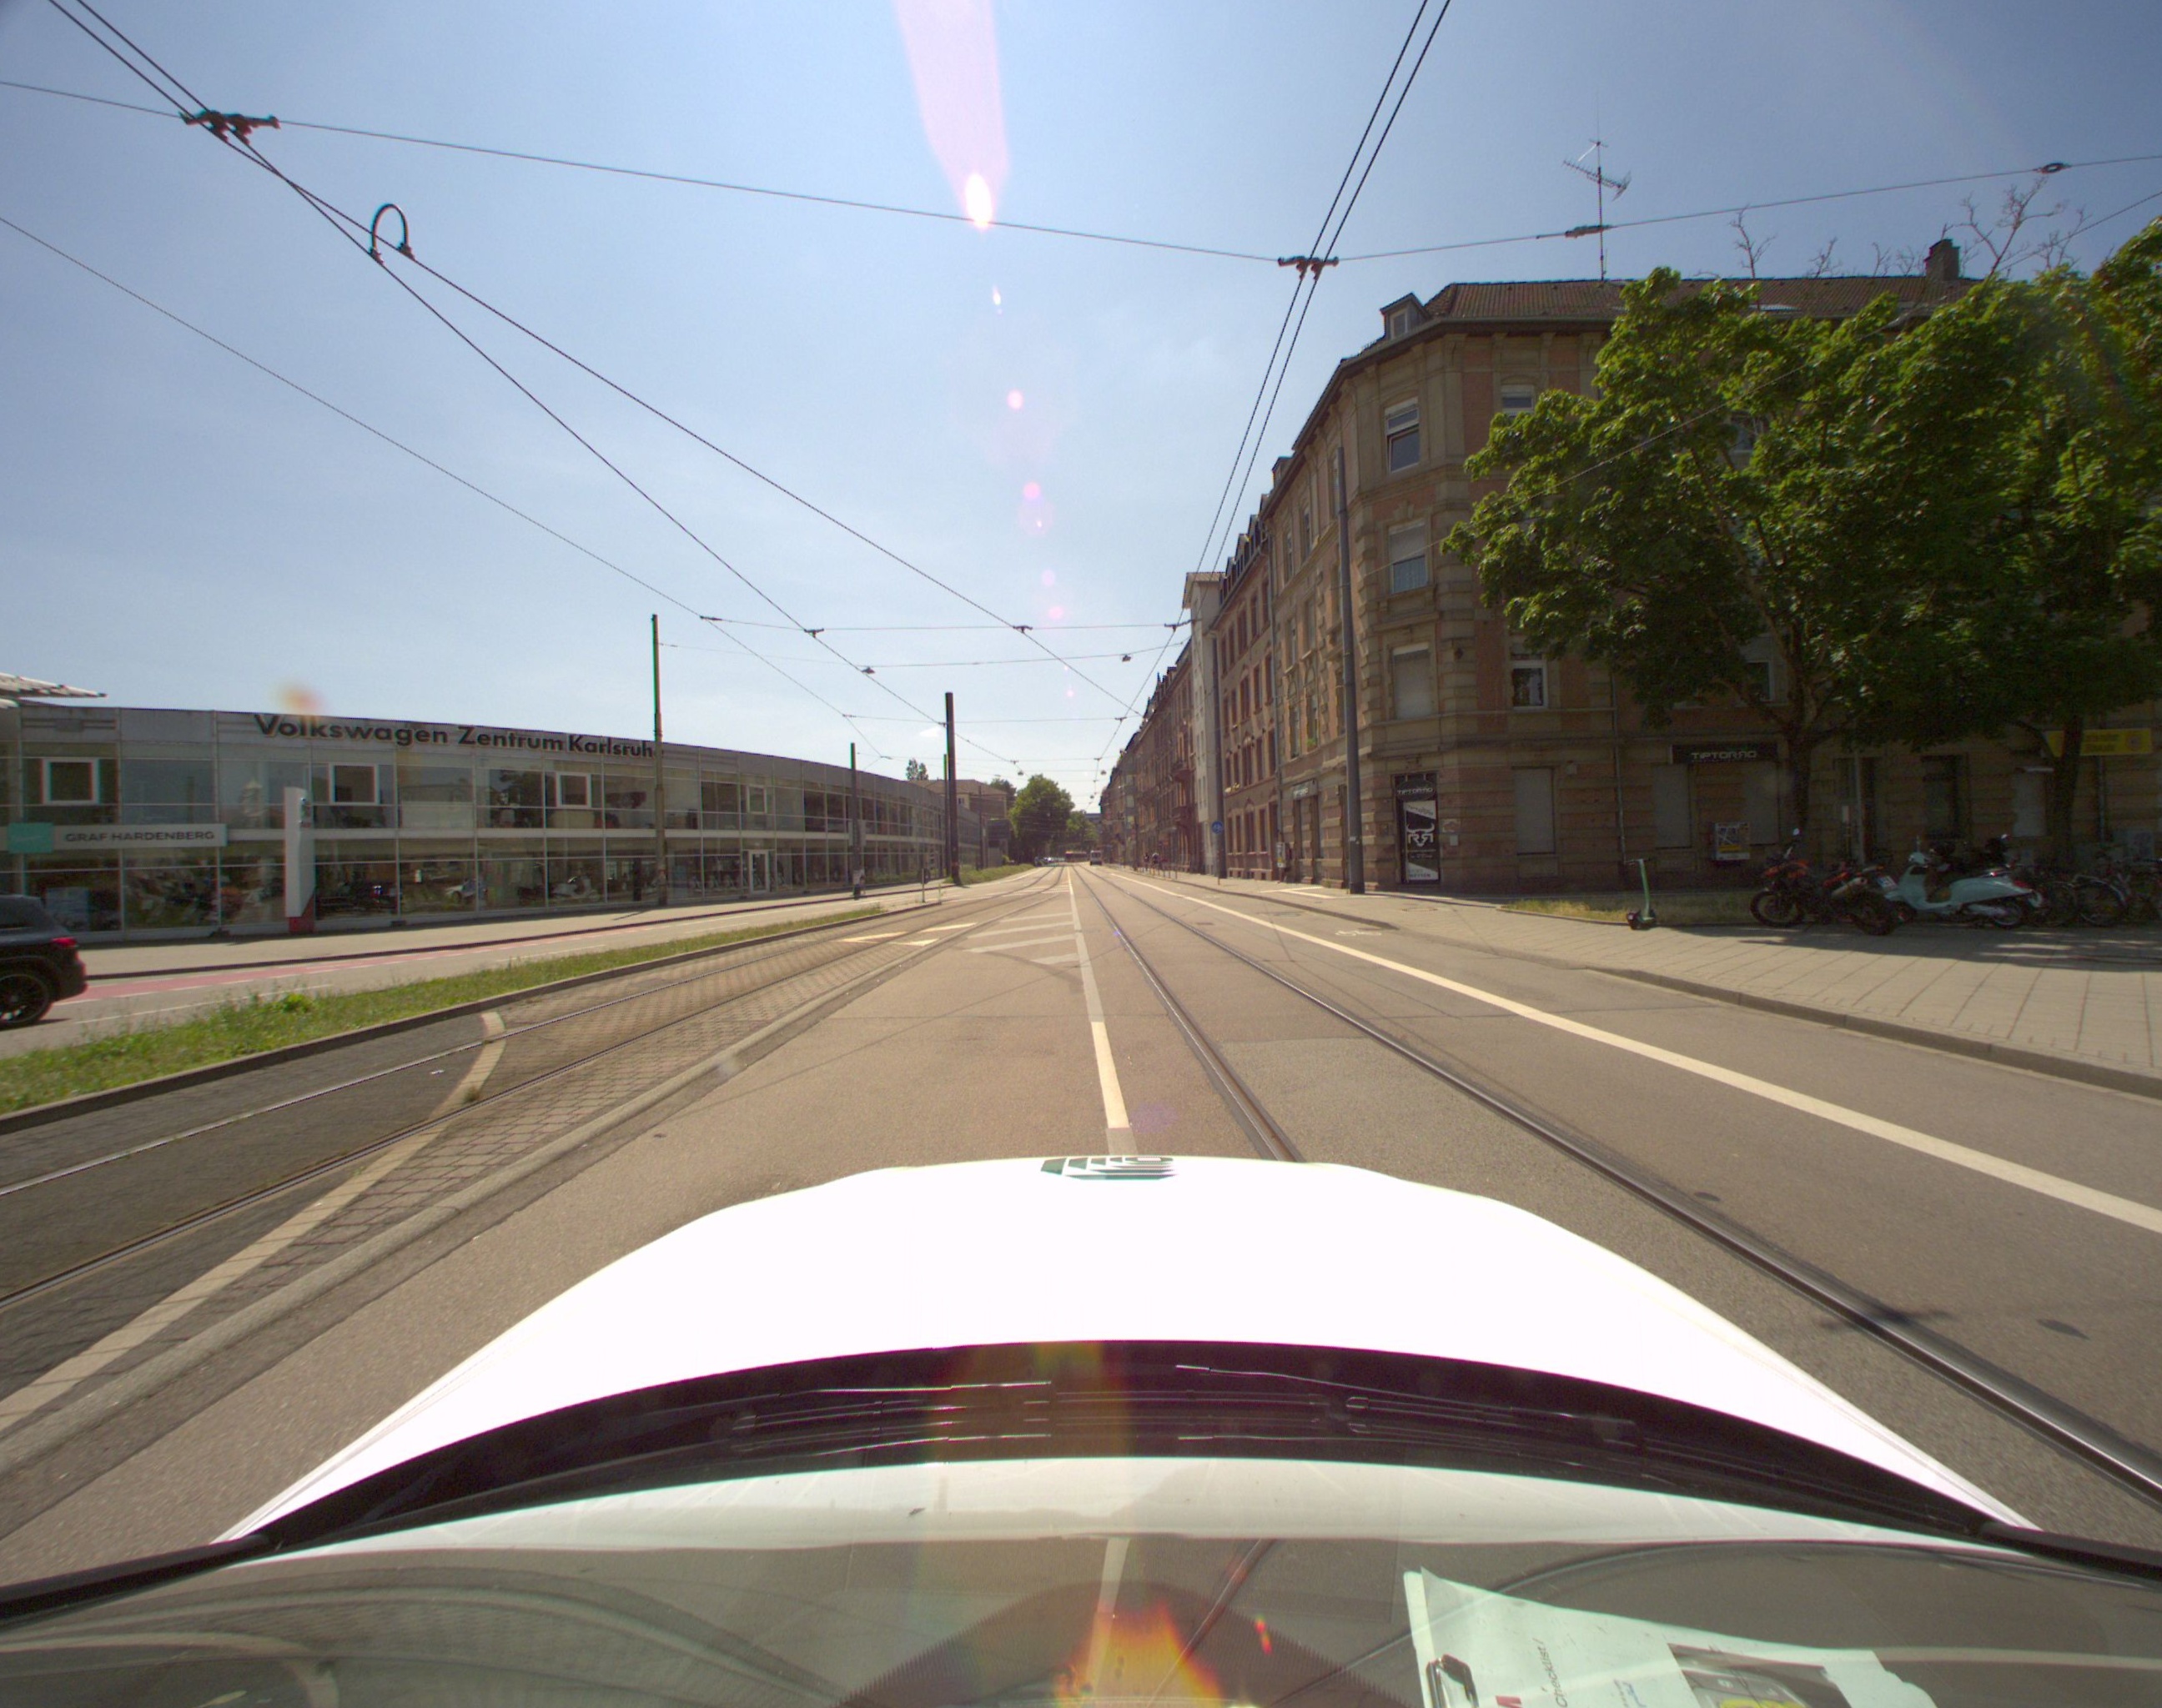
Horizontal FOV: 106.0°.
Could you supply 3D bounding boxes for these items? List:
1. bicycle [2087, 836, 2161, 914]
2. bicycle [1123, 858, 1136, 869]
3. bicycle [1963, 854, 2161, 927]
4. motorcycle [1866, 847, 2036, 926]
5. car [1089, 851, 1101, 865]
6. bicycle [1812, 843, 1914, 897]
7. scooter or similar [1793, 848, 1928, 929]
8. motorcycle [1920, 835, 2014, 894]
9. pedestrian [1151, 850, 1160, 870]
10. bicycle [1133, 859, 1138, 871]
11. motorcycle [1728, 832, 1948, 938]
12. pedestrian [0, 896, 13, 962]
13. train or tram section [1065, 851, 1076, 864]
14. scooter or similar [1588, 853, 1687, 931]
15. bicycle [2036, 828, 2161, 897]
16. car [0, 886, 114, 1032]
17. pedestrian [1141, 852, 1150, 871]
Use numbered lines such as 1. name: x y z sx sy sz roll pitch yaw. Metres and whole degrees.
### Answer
1. bicycle: 16.330 0.301 11.991 0.644 1.146 1.835 -2 0 -5
2. bicycle: 5.192 1.035 86.998 0.494 1.130 2.256 -3 0 27
3. bicycle: 14.590 0.499 12.116 0.643 0.965 2.081 -2 0 0
4. motorcycle: 13.135 0.473 12.380 0.688 1.096 1.747 -2 -1 0
5. car: 2.413 0.690 141.234 2.061 2.501 5.453 -1 0 0
6. bicycle: 18.403 0.361 19.176 1.874 1.178 0.713 -2 0 -8
7. scooter or similar: 12.004 0.521 12.599 0.600 1.152 1.374 -2 -1 -10
8. motorcycle: 20.385 0.233 18.754 1.636 1.290 0.502 -2 0 -2
9. pedestrian: 7.049 0.582 77.362 0.700 1.849 0.643 -3 -1 0
10. bicycle: 5.315 1.073 79.464 0.445 1.097 2.426 -3 0 4
11. motorcycle: 10.960 0.415 11.976 0.761 1.362 2.595 -2 -1 0
12. pedestrian: -27.743 1.915 20.460 0.725 1.642 0.821 -2 0 2
13. train or tram section: -2.990 1.018 238.927 2.952 3.580 13.414 -2 0 -1
14. scooter or similar: 9.115 0.595 13.335 1.530 1.155 0.708 -2 0 -30
15. bicycle: 15.531 0.117 12.052 0.643 0.965 1.839 -2 0 2
16. car: -13.350 1.266 8.129 1.815 1.626 4.528 -3 0 2
17. pedestrian: 6.167 0.709 77.660 0.718 1.720 0.643 -2 -1 0
